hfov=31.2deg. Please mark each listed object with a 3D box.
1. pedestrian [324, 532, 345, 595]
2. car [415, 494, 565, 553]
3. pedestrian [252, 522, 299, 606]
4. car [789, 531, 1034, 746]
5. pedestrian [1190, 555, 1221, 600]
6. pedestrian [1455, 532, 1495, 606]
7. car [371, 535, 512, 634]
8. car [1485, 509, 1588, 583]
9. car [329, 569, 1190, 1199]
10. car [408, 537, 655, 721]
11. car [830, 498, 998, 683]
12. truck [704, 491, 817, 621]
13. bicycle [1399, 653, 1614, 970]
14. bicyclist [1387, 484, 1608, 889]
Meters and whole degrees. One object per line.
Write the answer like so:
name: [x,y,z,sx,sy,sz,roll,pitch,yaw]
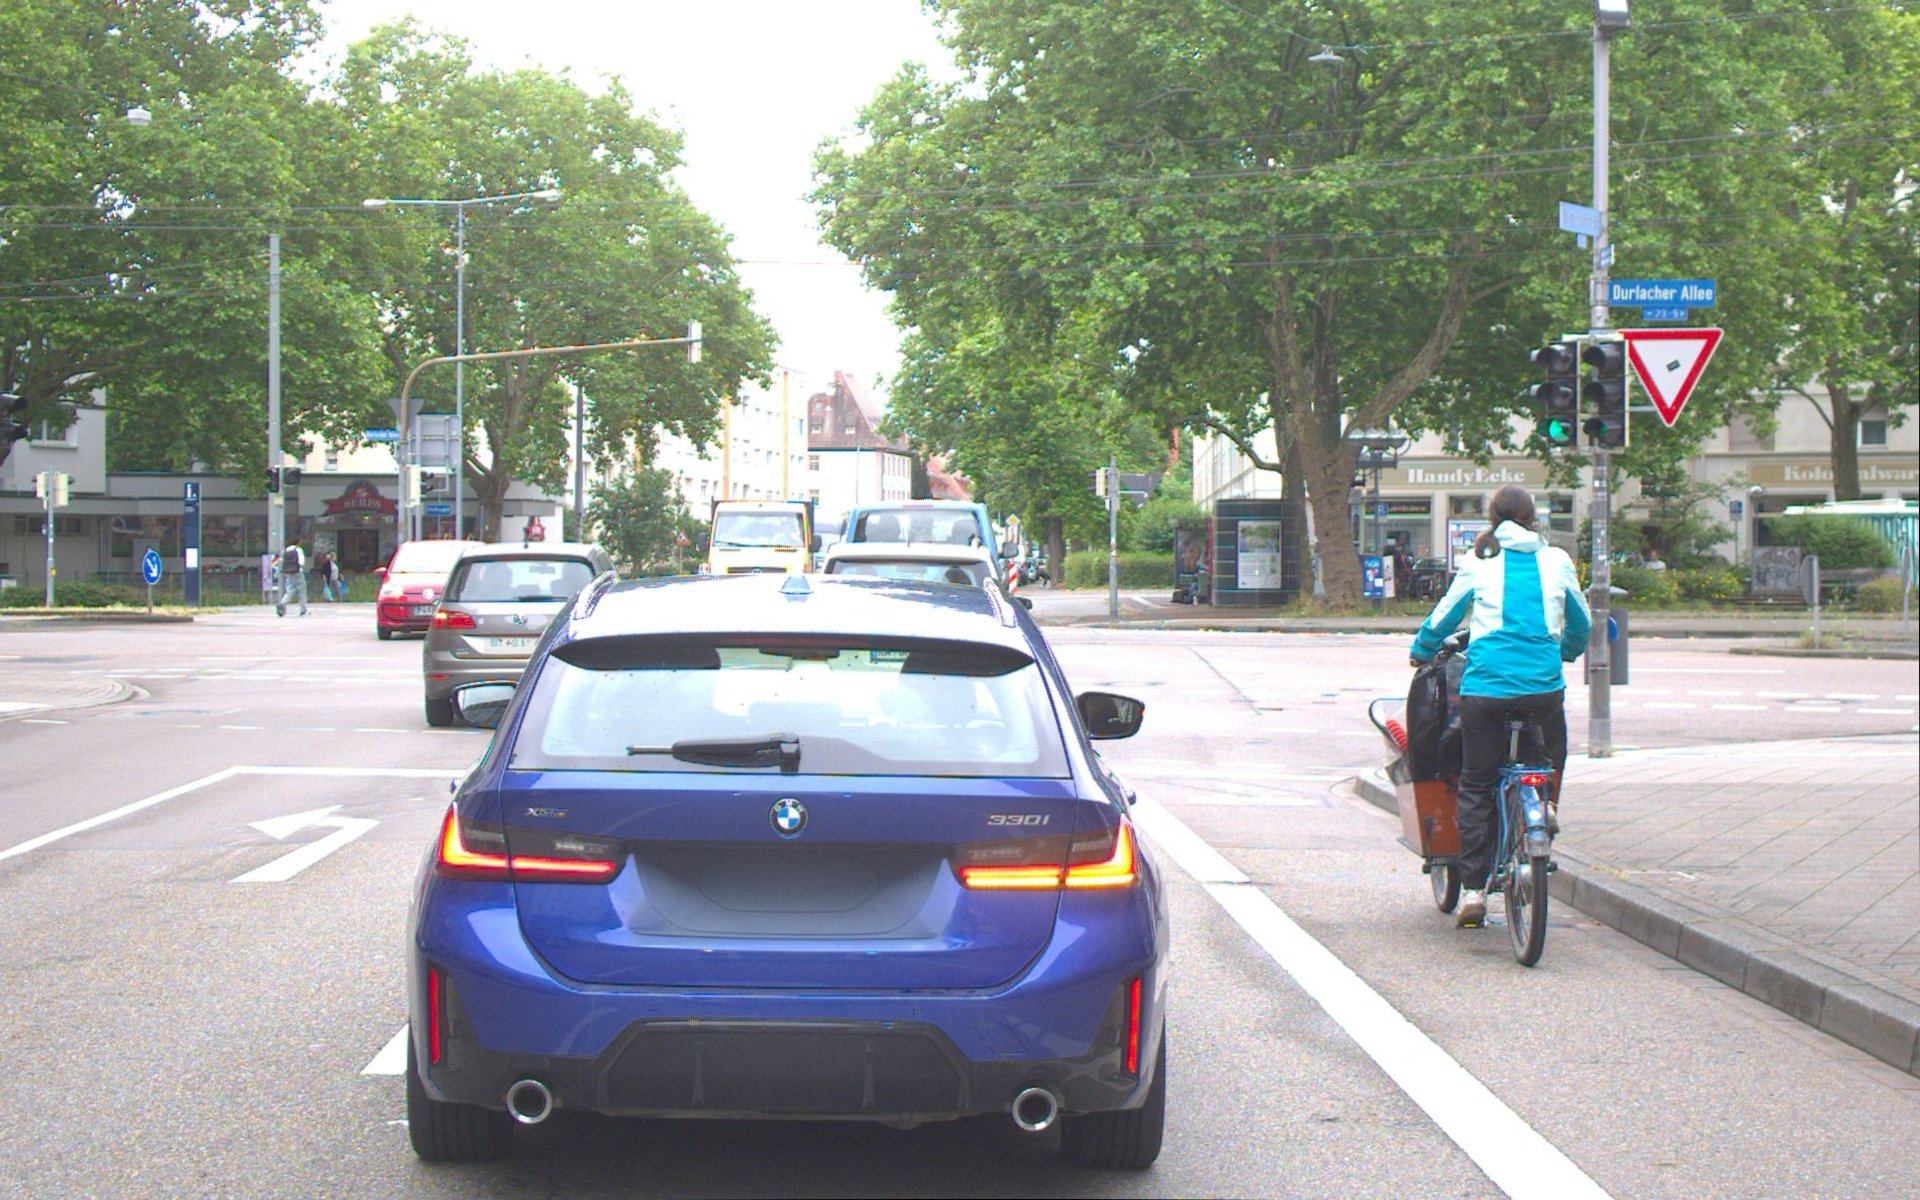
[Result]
pedestrian: [-17.409,-1.014,95.680,0.571,1.765,0.515,0,1,-11]
car: [-14.111,-2.275,103.291,3.987,1.700,2.000,0,0,-34]
pedestrian: [-14.584,-0.772,73.249,0.676,1.765,0.724,1,1,41]
car: [-0.380,0.249,27.460,1.815,1.586,4.000,0,1,-1]
pedestrian: [7.166,-0.652,100.477,0.853,1.310,0.762,0,1,0]
pedestrian: [12.103,-0.736,80.768,0.784,1.738,0.925,0,1,-2]
car: [-7.830,-0.264,52.148,1.649,1.442,3.511,0,1,-1]
car: [17.650,-1.647,105.109,2.177,2.193,3.995,0,1,24]
car: [-0.445,0.639,9.426,1.815,1.400,4.320,0,1,-1]
car: [-3.736,0.205,30.546,1.732,1.520,4.000,0,1,-1]
car: [-0.522,-0.143,39.268,1.815,1.998,4.000,0,1,-1]
truck: [-3.835,-0.873,66.898,2.074,2.400,5.463,-1,1,-2]
bicycle: [2.147,0.795,13.718,0.494,1.094,2.139,0,1,-1]
bicyclist: [2.077,0.315,13.391,0.686,1.512,1.058,0,1,-1]
